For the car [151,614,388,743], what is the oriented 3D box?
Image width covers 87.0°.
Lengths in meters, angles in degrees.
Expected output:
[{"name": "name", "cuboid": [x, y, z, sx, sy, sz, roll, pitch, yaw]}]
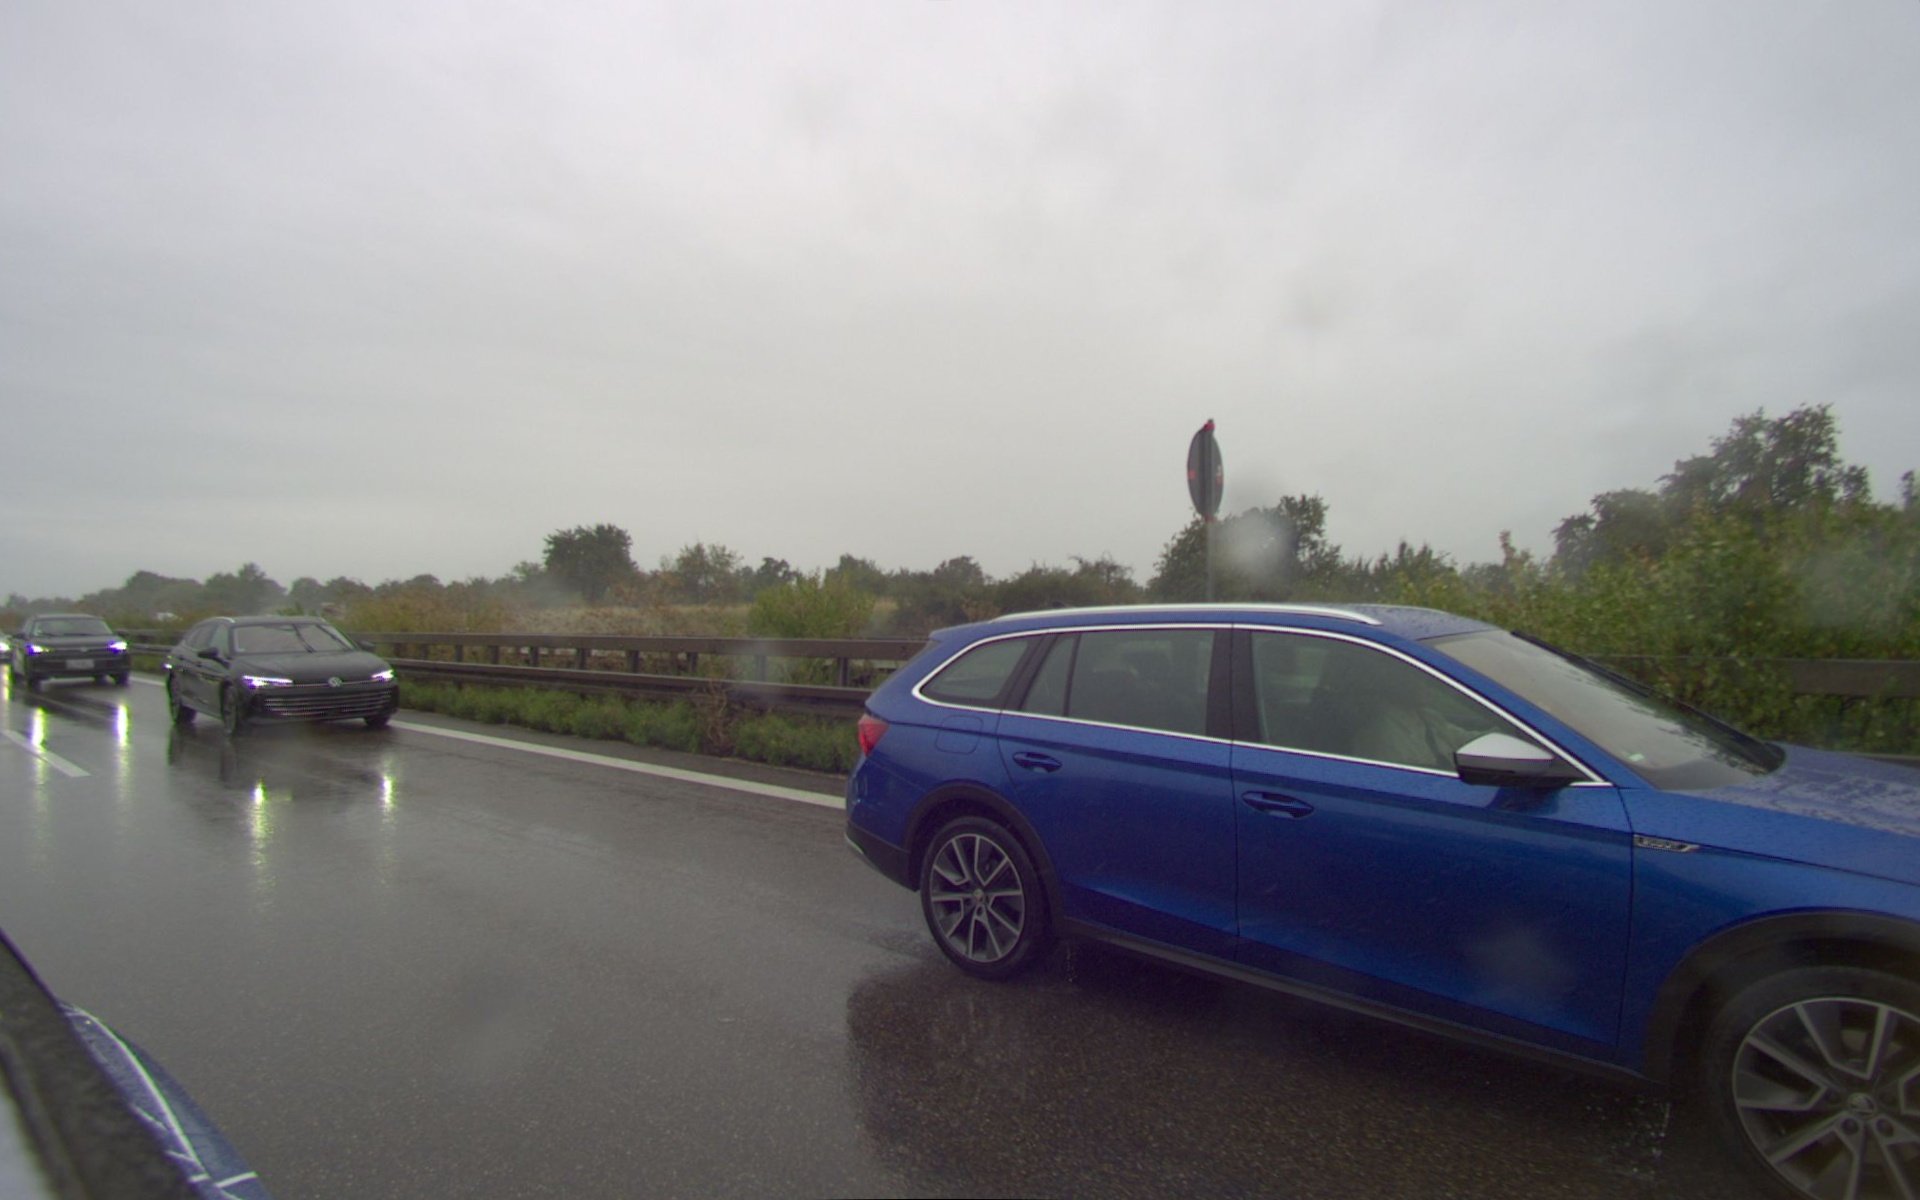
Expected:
[{"name": "car", "cuboid": [-9.327, 0.941, 13.522, 4.368, 1.447, 1.592, -1, -1, 41]}]

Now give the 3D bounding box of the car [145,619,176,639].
[{"name": "car", "cuboid": [-69.499, 2.516, 87.952, 3.407, 1.671, 1.485, -1, -1, 41]}]

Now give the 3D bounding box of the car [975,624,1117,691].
[{"name": "car", "cuboid": [2.143, 1.406, 25.658, 3.446, 1.544, 1.380, -1, -1, 41]}]

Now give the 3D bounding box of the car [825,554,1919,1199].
[{"name": "car", "cuboid": [1.685, 0.668, 3.597, 4.510, 1.487, 1.767, -1, -1, 41]}]

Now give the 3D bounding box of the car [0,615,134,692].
[{"name": "car", "cuboid": [-21.099, 1.195, 23.831, 4.266, 1.644, 1.864, -1, -1, 41]}]

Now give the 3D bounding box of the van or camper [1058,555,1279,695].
[{"name": "van or camper", "cuboid": [3.540, 0.421, 17.506, 3.523, 2.197, 1.347, -1, -1, 41]}]

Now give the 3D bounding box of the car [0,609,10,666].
[{"name": "car", "cuboid": [-36.092, 1.377, 36.960, 4.270, 2.029, 1.863, -2, -1, 44]}]
